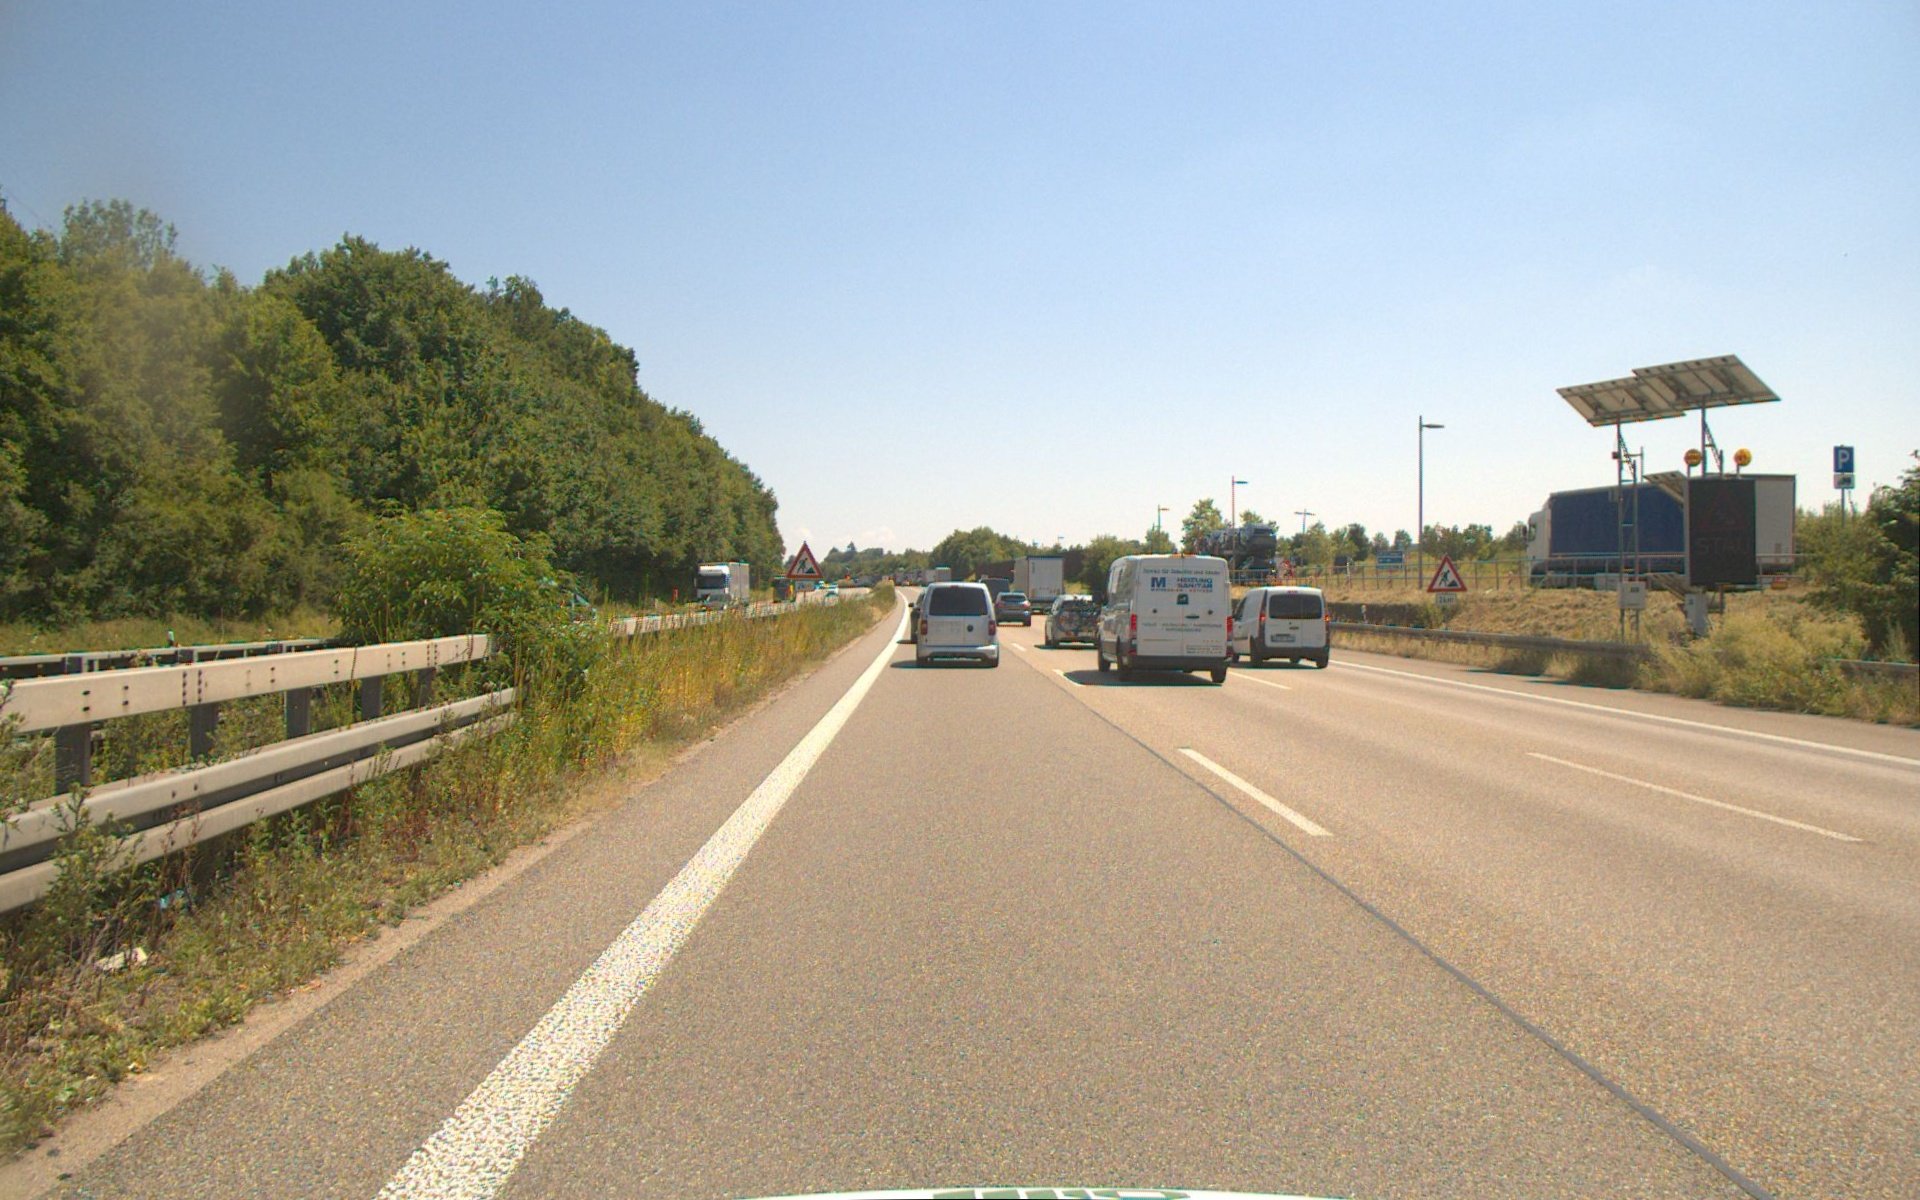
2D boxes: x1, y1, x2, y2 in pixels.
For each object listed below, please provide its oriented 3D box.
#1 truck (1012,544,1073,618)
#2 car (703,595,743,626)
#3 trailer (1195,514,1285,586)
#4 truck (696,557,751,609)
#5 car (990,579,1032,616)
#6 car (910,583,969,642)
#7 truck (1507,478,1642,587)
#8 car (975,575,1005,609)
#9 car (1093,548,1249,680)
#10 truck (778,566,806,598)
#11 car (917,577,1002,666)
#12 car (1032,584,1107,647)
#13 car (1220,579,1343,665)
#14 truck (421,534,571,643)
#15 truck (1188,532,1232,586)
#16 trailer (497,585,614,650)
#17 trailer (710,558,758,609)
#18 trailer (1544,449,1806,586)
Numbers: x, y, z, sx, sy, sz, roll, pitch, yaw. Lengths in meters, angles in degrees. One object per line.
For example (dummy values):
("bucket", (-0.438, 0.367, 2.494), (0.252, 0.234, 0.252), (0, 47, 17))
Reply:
("truck", (5.895, -1.293, 120.399), (3.710, 5.087, 12.518), (1, 0, 0))
("car", (-14.052, 0.601, 98.302), (1.689, 1.685, 4.859), (-2, 0, -2))
("trailer", (18.973, -3.215, 113.556), (2.553, 4.332, 18.416), (1, 0, -1))
("truck", (-19.462, -1.405, 136.620), (3.384, 4.064, 11.118), (-1, 0, -3))
("car", (2.394, -0.132, 79.053), (1.863, 1.701, 4.088), (-1, 0, 0))
("car", (-0.607, 0.374, 51.576), (1.709, 1.731, 4.088), (-1, 0, 0))
("truck", (25.167, -2.677, 68.103), (2.990, 4.154, 6.396), (1, 0, -1))
("car", (1.751, -0.443, 96.446), (1.640, 1.925, 4.088), (-1, 0, 0))
("car", (3.935, 0.248, 31.830), (2.138, 2.293, 5.361), (1, 0, -2))
("truck", (-21.109, -2.247, 208.597), (2.726, 3.804, 11.153), (1, 0, -2))
("car", (-0.004, 0.446, 36.176), (1.709, 1.795, 4.088), (-1, 0, 0))
("car", (3.179, 0.442, 48.830), (1.935, 1.763, 4.088), (-1, 0, 0))
("car", (7.441, 0.488, 38.670), (1.911, 1.870, 4.176), (-1, 0, -2))
("truck", (-17.817, -0.419, 64.371), (2.935, 3.868, 10.787), (-1, 0, -1))
("truck", (18.725, -3.043, 123.904), (2.549, 3.894, 3.999), (1, 0, -2))
("trailer", (-17.924, 0.738, 73.960), (3.082, 2.685, 8.530), (1, 0, 0))
("trailer", (-19.876, -1.412, 146.101), (3.384, 4.354, 7.966), (1, 0, -3))
("trailer", (25.370, -2.692, 59.982), (2.990, 4.154, 14.253), (1, 0, -1))
